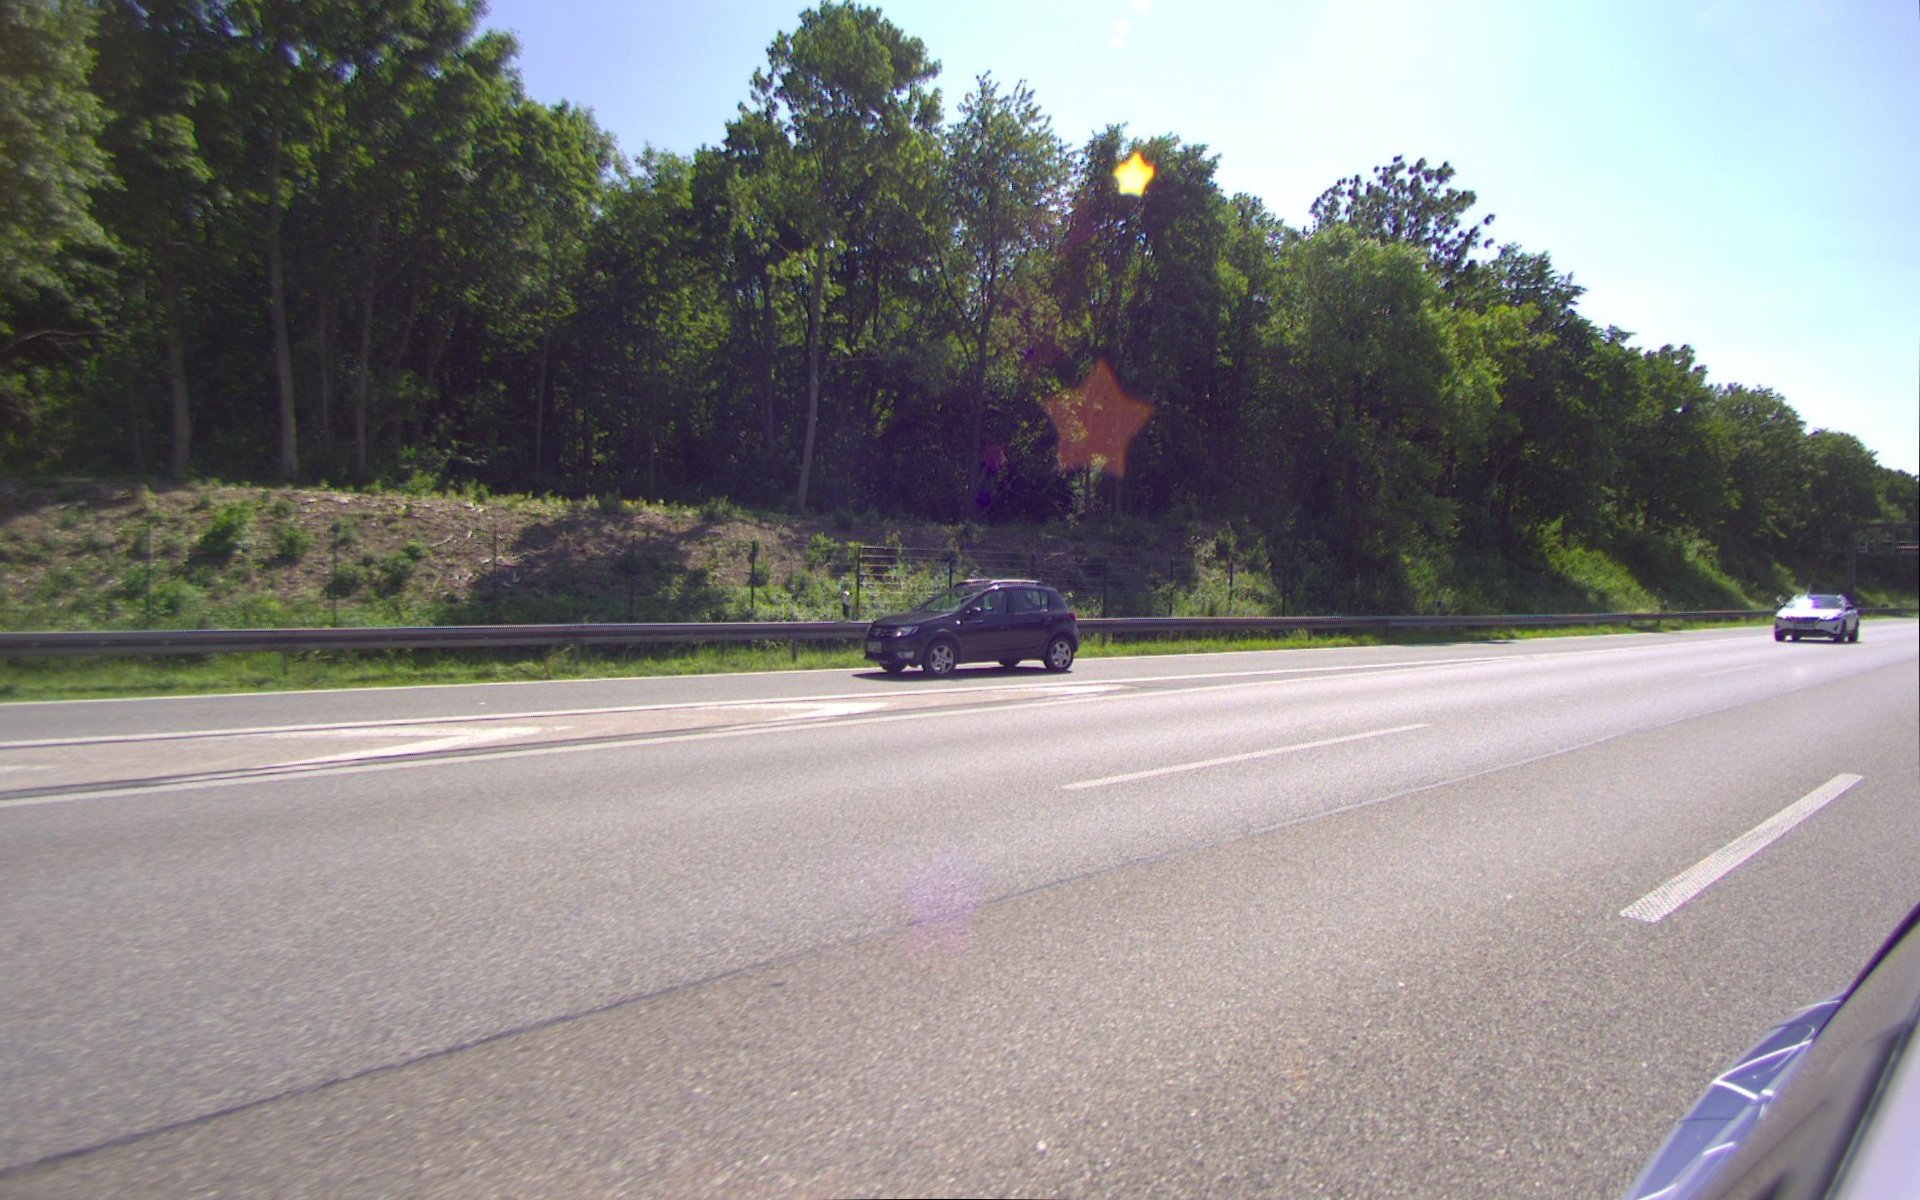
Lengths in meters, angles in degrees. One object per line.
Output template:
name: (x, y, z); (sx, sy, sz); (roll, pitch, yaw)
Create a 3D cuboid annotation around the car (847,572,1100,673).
car: (0.285, 0.344, 17.715); (4.176, 1.588, 1.771); (0, 0, -34)

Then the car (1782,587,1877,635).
car: (29.965, 0.351, 34.855); (3.963, 1.588, 1.847); (0, 0, -40)
